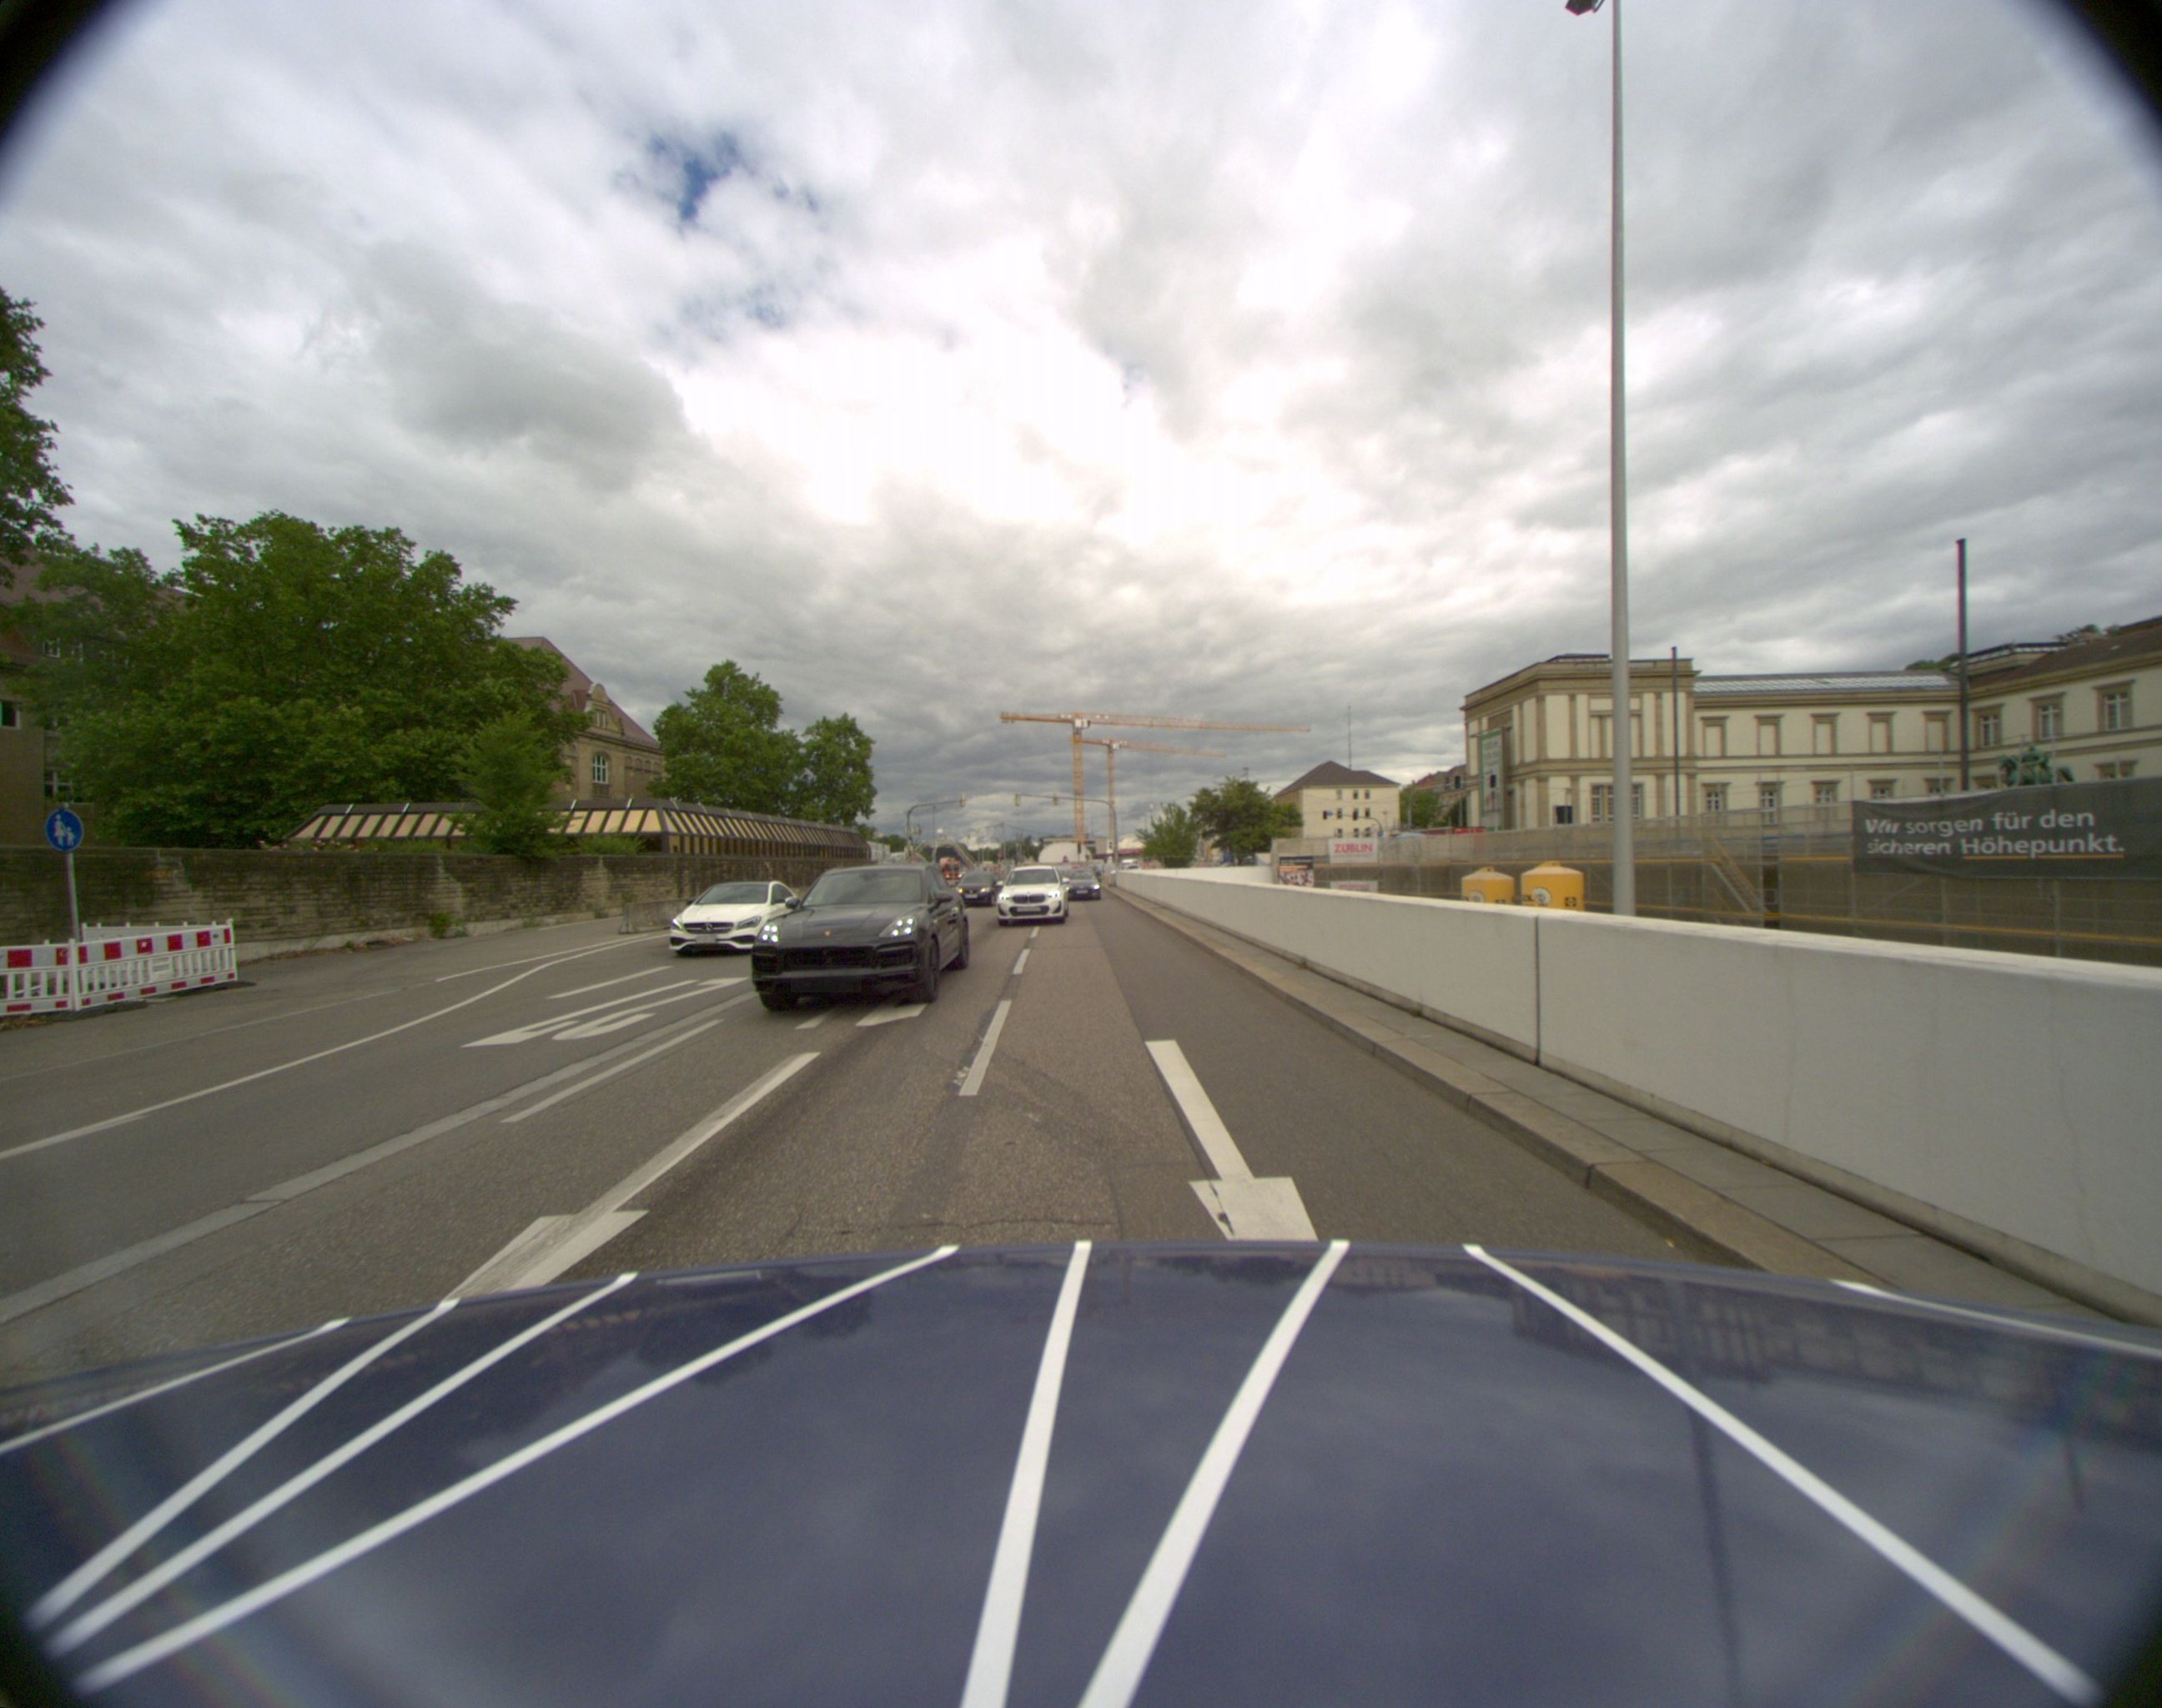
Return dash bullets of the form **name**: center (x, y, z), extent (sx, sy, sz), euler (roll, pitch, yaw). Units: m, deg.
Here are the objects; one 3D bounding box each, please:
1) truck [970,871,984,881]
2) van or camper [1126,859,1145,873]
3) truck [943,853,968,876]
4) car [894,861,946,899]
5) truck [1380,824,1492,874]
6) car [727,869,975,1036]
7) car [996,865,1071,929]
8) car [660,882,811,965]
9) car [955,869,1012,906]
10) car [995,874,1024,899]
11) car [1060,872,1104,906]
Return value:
- **truck**: center (-17.177, 3.600, 125.602), extent (1.827, 1.531, 3.757), euler (-1, -1, -16)
- **van or camper**: center (9.063, 2.021, 126.148), extent (1.996, 2.214, 4.005), euler (-2, 1, 20)
- **truck**: center (-21.097, 1.857, 127.272), extent (2.913, 3.653, 9.015), euler (-1, -1, -17)
- **car**: center (-8.642, 1.359, 41.033), extent (1.937, 1.926, 3.674), euler (1, -1, 2)
- **truck**: center (32.178, -0.211, 70.263), extent (2.924, 4.058, 16.618), euler (-1, -1, 1)
- **car**: center (-2.709, 1.071, 10.212), extent (1.956, 1.638, 4.608), euler (-2, -1, -1)
- **car**: center (-1.260, 1.175, 21.572), extent (1.812, 1.595, 3.714), euler (-2, -2, 1)
- **car**: center (-7.302, 1.389, 16.553), extent (1.740, 1.427, 4.379), euler (-1, -1, -7)
- **car**: center (-4.129, 1.404, 32.843), extent (1.733, 1.461, 4.420), euler (-1, -1, 2)
- **car**: center (-4.391, 1.984, 47.041), extent (1.577, 1.411, 3.571), euler (-1, -1, -2)
- **car**: center (0.097, 1.599, 36.004), extent (1.852, 1.412, 4.106), euler (-3, -1, 2)
